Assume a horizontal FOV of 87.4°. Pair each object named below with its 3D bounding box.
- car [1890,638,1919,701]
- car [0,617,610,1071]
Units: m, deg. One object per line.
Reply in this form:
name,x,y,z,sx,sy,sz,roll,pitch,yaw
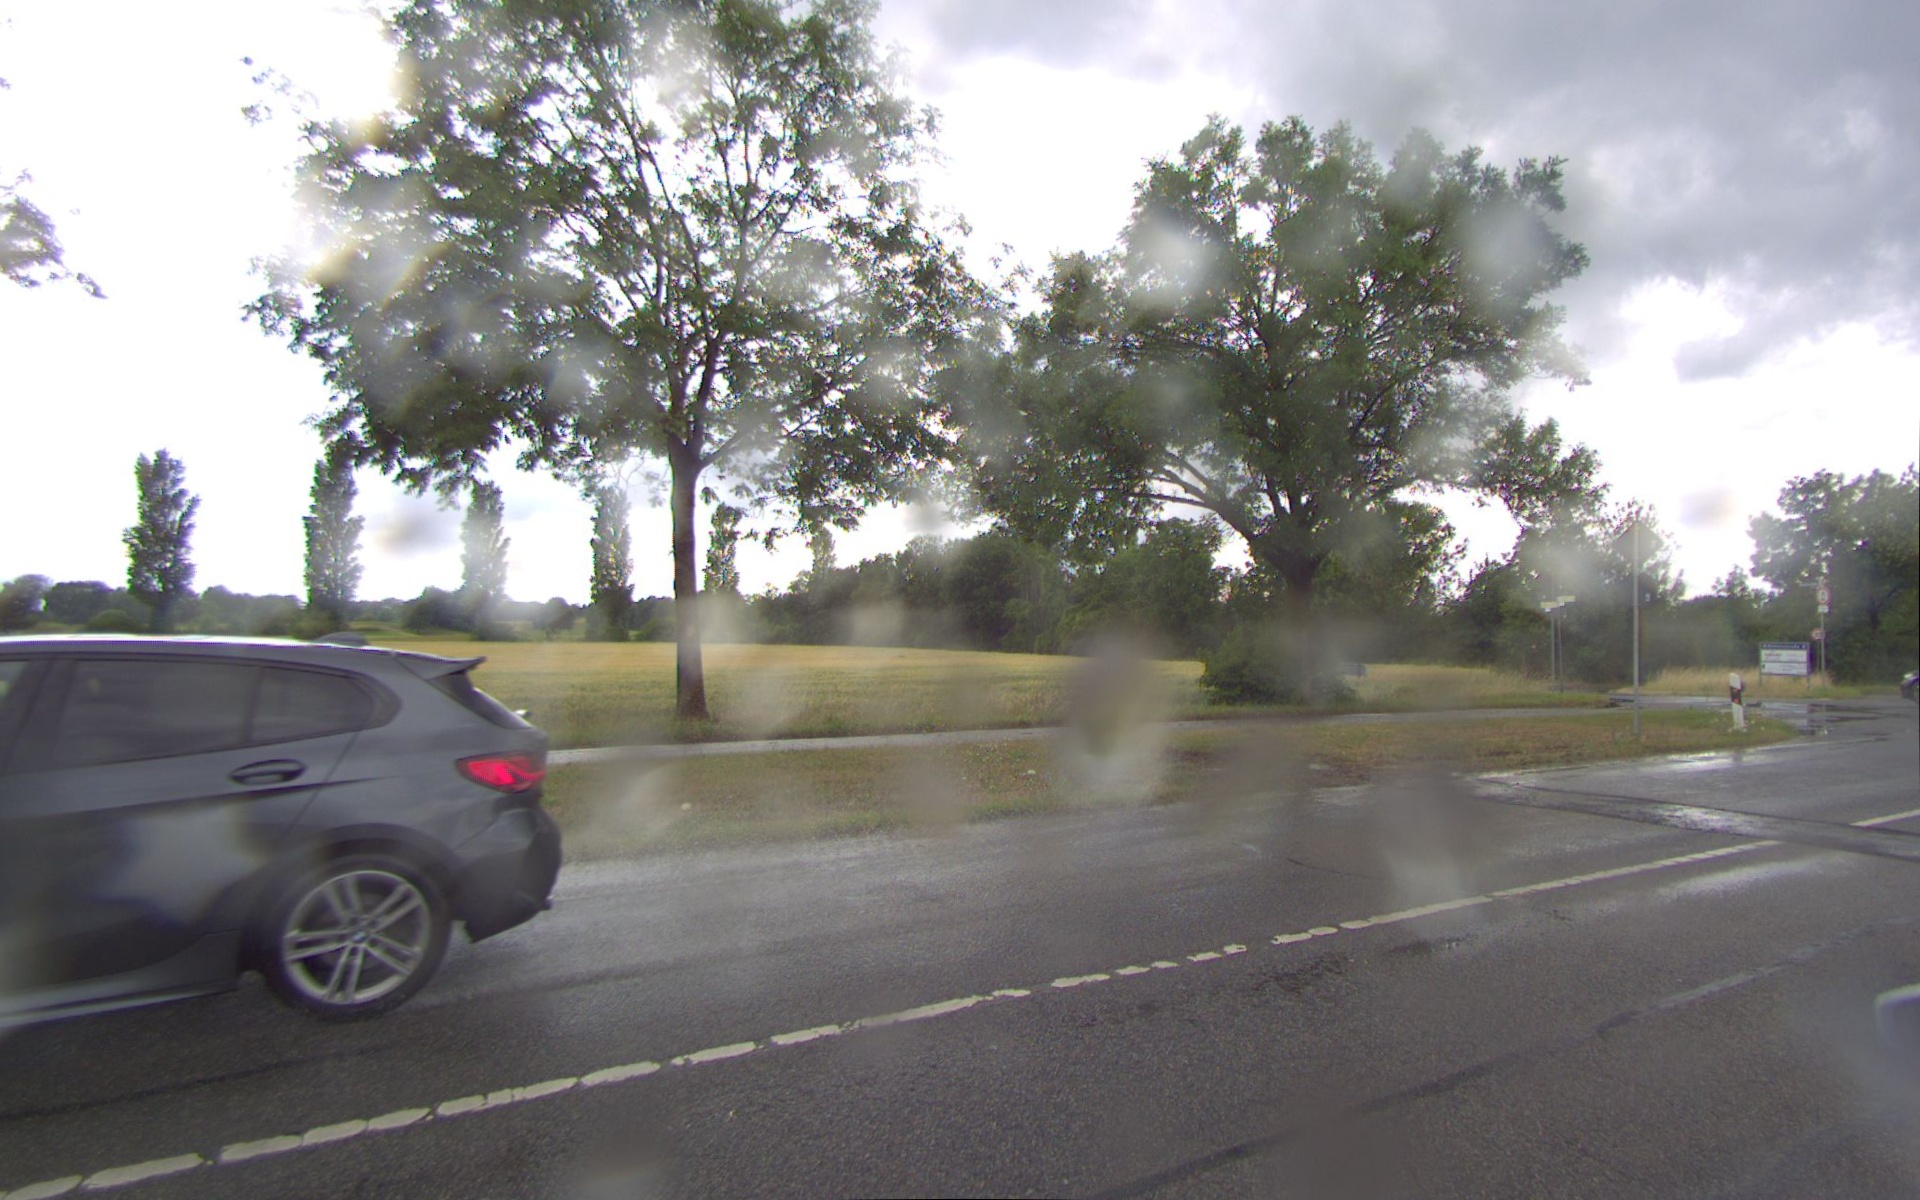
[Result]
car,25.665,1.816,23.990,2.268,1.568,4.623,2,0,-10
car,-3.588,0.806,3.837,3.997,1.422,1.711,2,-4,-31
